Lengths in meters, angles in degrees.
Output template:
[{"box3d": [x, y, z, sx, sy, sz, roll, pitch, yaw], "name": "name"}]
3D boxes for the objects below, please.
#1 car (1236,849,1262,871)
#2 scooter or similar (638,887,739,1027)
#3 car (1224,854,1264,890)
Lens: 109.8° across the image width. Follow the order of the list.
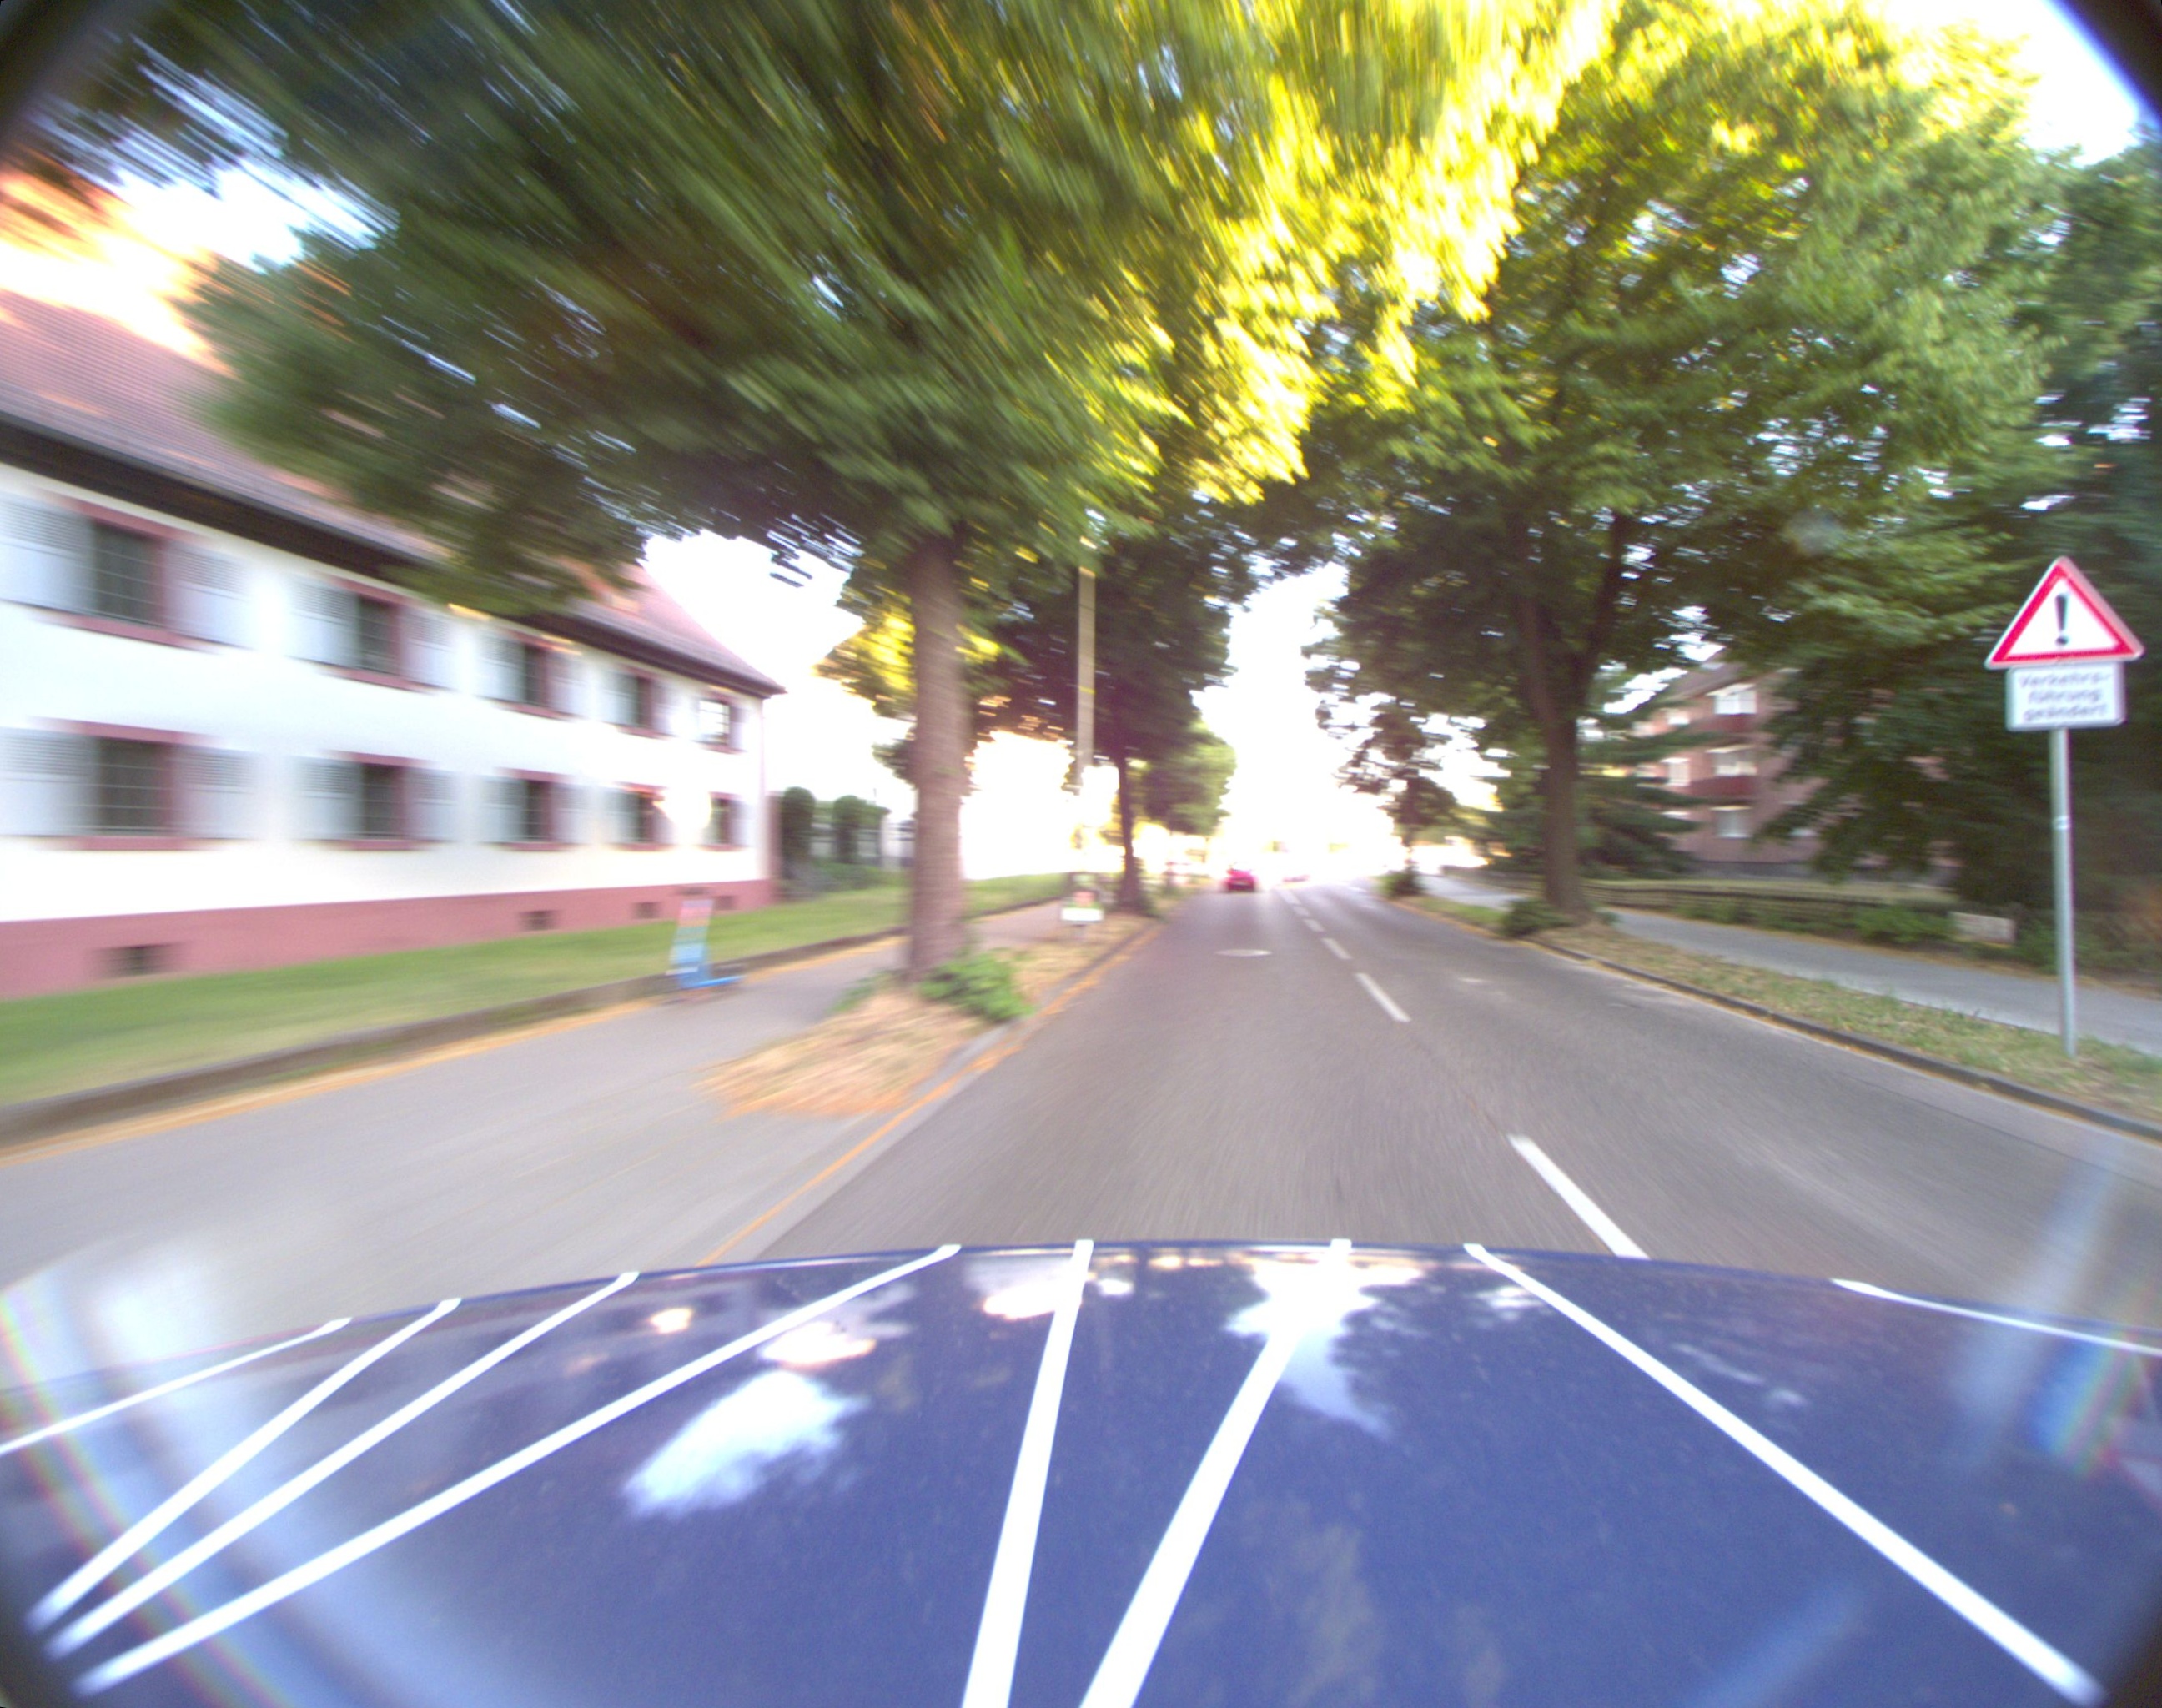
[{"box3d": [12.979, 0.440, 58.564, 1.788, 1.548, 4.413, -1, 1, 14], "name": "car"}, {"box3d": [-4.070, 1.020, 7.953, 0.239, 1.269, 1.267, 0, 1, 7], "name": "scooter or similar"}, {"box3d": [7.366, 0.763, 34.606, 1.617, 1.405, 4.413, -1, 1, 11], "name": "car"}]
